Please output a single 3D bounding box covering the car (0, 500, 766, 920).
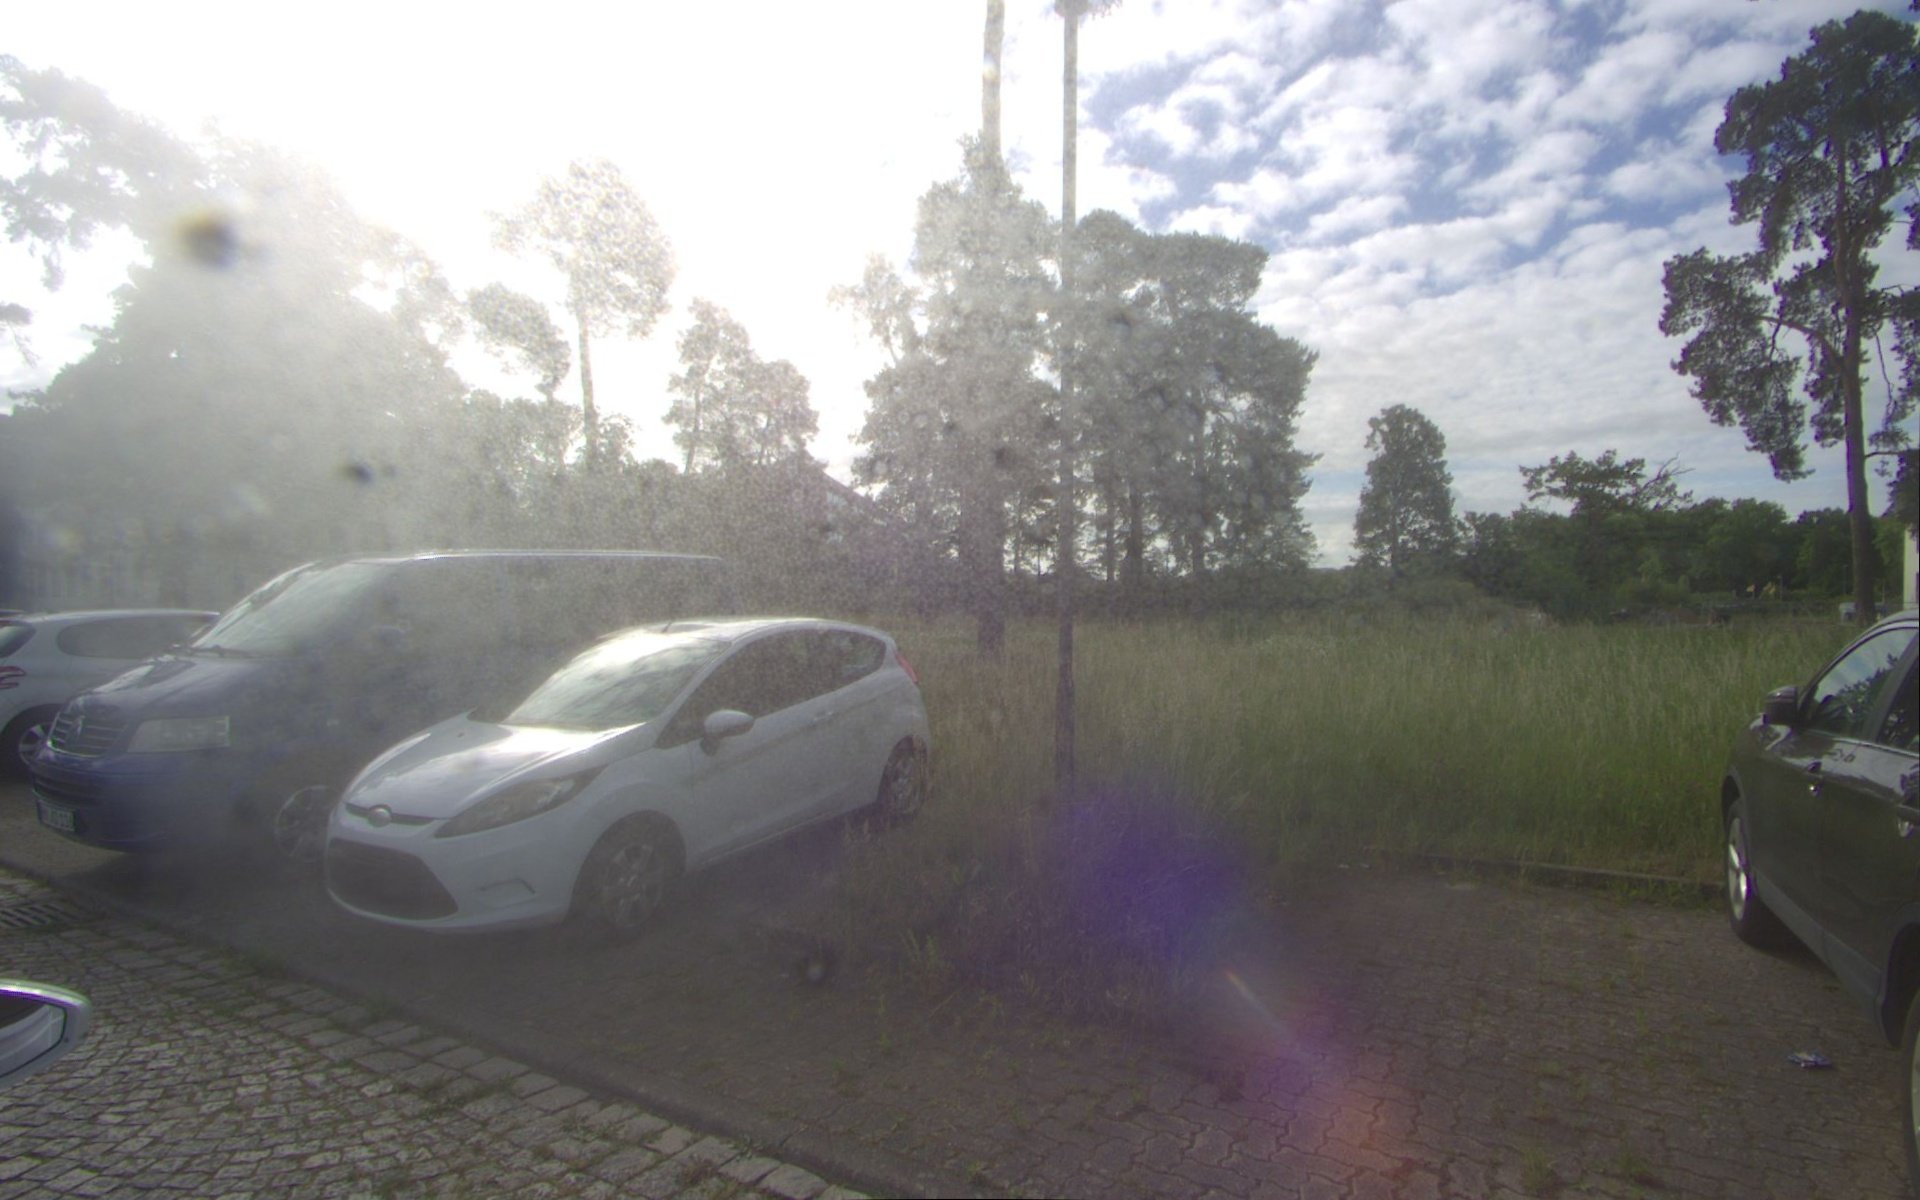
[{"bbox_3d":[-3.679,0.561,7.428,1.712,2.067,4.776,1,0,30],"label":"car"}]

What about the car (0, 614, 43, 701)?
[{"bbox_3d":[-15.591,0.862,14.318,1.637,1.284,3.292,1,0,25],"label":"car"}]

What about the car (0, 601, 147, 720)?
[{"bbox_3d":[-13.113,0.778,13.249,1.635,1.524,3.296,1,0,20],"label":"car"}]

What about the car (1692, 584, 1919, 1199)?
[{"bbox_3d":[3.633,0.781,3.036,1.735,1.601,3.947,1,0,29],"label":"car"}]

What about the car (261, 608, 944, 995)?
[{"bbox_3d":[-1.708,0.817,5.991,1.629,1.443,3.718,1,1,28],"label":"car"}]

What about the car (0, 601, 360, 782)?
[{"bbox_3d":[-8.203,0.787,10.139,1.638,1.524,3.289,1,0,29],"label":"car"}]

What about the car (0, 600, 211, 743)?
[{"bbox_3d":[-10.934,0.765,11.365,1.635,1.526,3.602,1,0,20],"label":"car"}]

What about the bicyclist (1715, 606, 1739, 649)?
[{"bbox_3d":[36.333,1.297,47.468,0.836,2.039,0.656,0,-1,32],"label":"bicyclist"}]

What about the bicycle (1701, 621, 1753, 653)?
[{"bbox_3d":[36.334,1.741,47.468,1.906,1.499,0.652,0,-1,32],"label":"bicycle"}]

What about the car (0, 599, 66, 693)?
[{"bbox_3d":[-17.162,0.744,16.005,1.637,1.564,3.987,1,0,25],"label":"car"}]
